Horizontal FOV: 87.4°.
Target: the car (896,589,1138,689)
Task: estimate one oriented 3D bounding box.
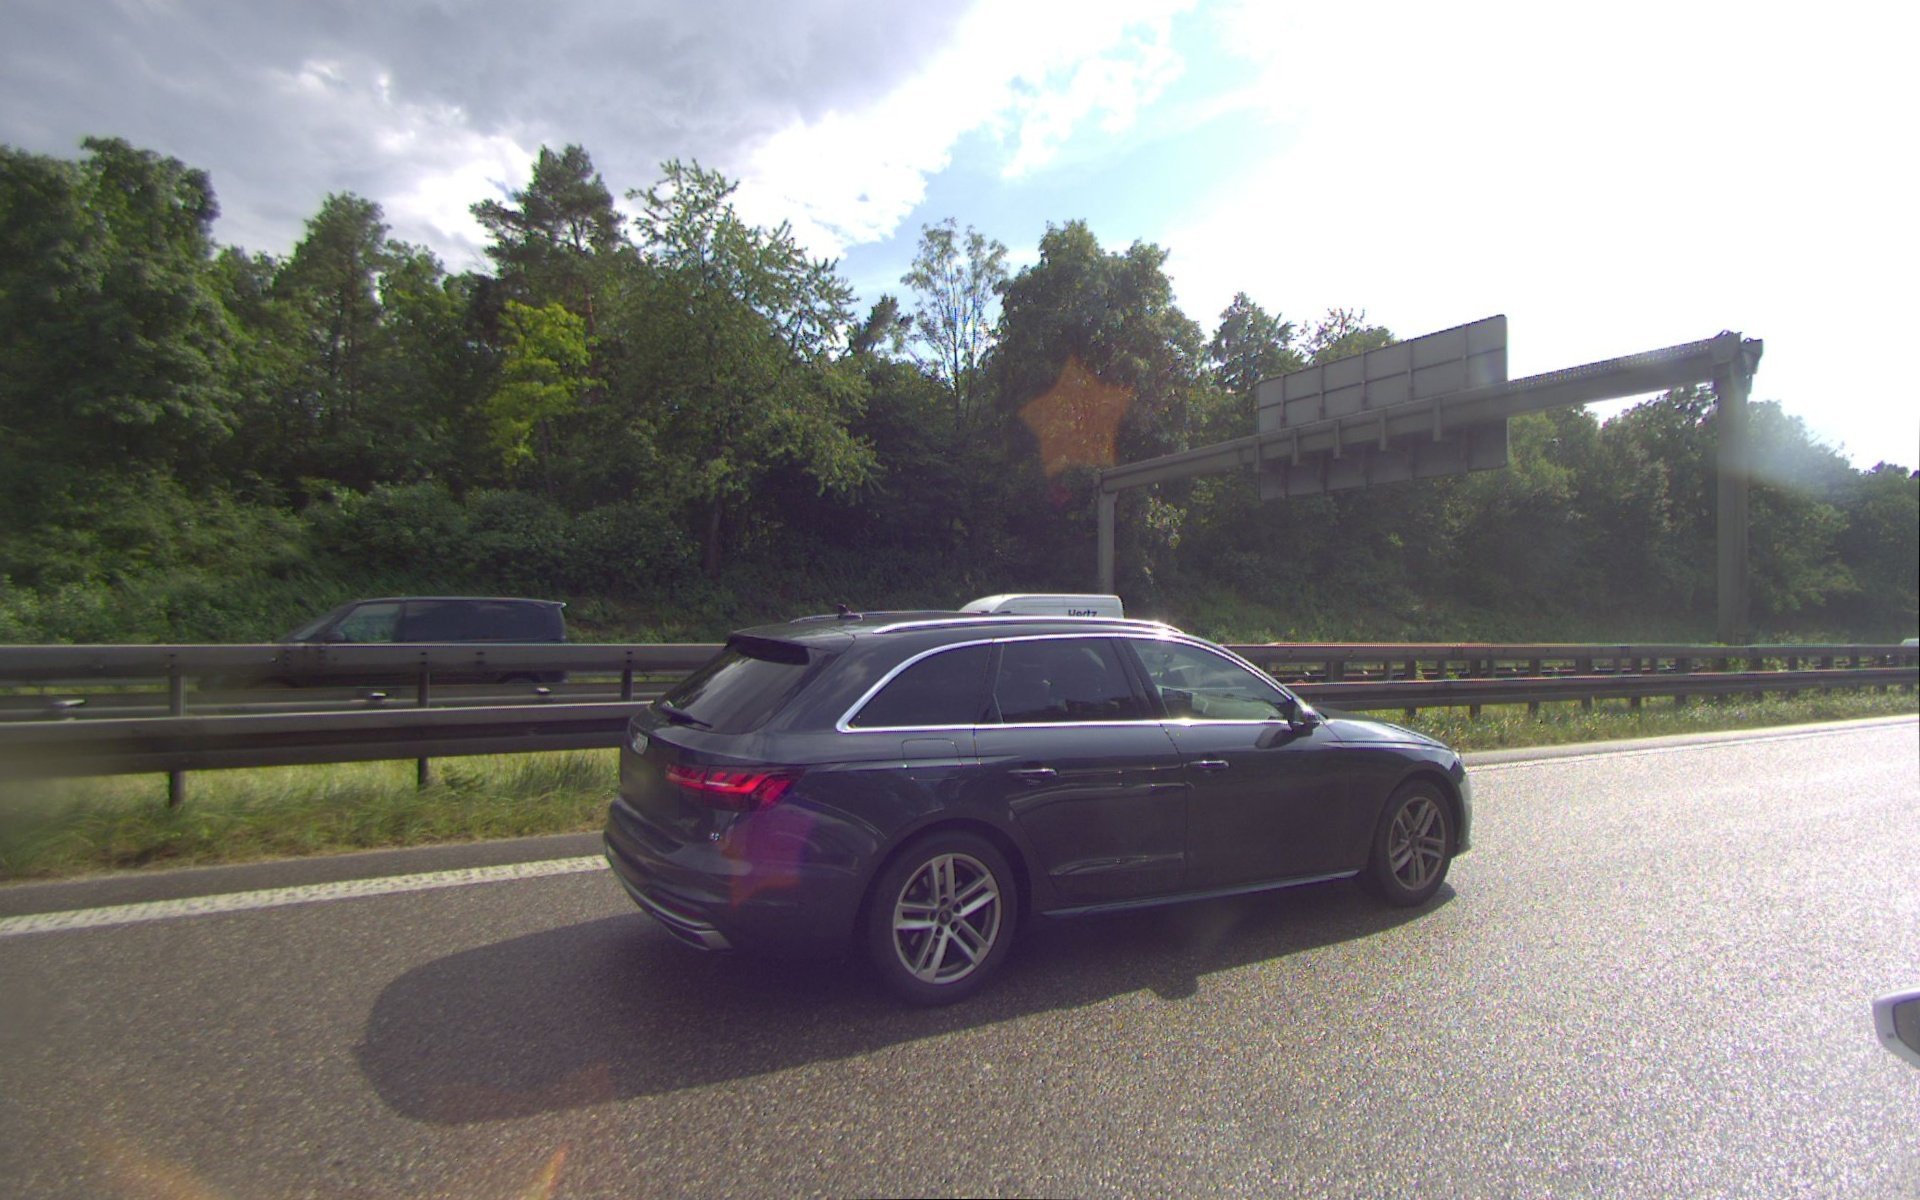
[{"bbox_3d":[1.513,0.958,25.499,5.910,2.279,2.134,2,0,-30],"label":"car"}]

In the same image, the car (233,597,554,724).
[{"bbox_3d":[-8.338,0.853,15.078,3.953,1.656,1.739,2,0,-30],"label":"car"}]

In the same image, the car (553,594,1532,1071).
[{"bbox_3d":[0.643,0.764,5.069,4.784,1.437,1.785,2,0,-31],"label":"car"}]

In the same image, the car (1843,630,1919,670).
[{"bbox_3d":[42.435,2.272,45.899,3.953,1.697,1.984,2,0,-30],"label":"car"}]
